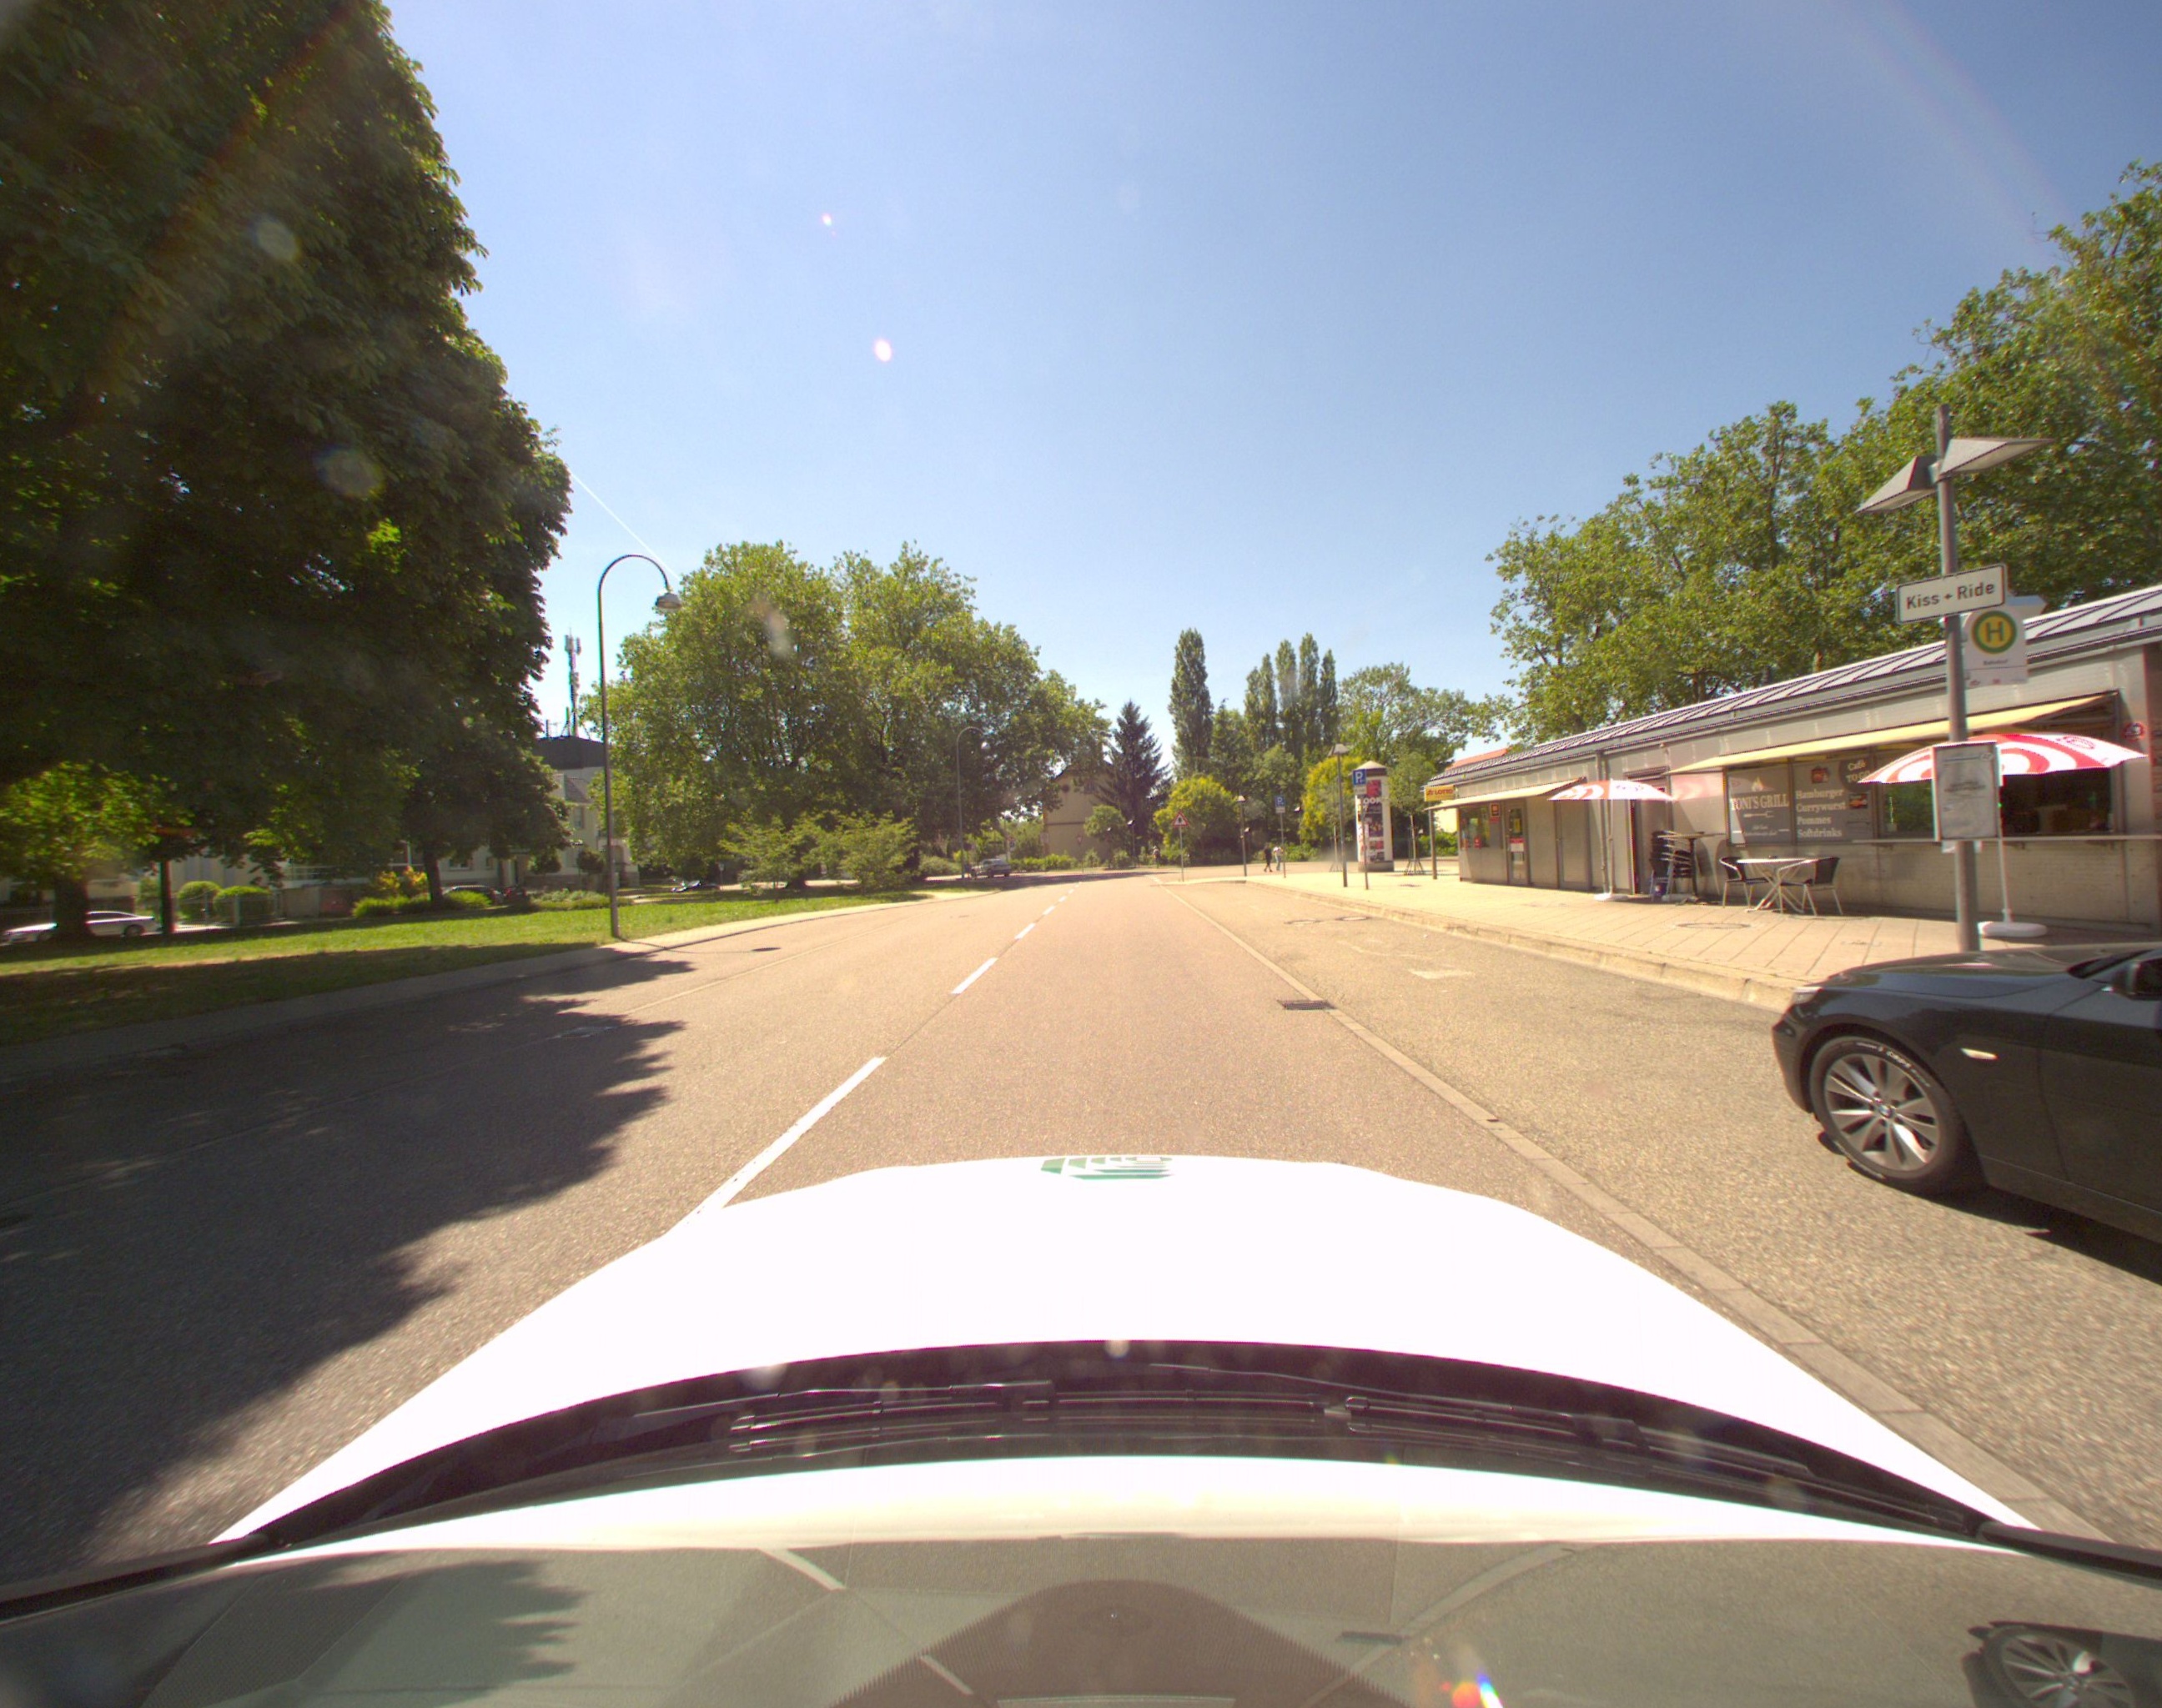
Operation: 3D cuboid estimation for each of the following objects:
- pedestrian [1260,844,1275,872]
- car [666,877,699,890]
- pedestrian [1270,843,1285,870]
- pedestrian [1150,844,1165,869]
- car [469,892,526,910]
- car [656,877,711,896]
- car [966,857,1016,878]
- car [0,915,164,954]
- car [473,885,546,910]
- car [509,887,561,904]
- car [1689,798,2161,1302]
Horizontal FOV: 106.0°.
[{"bbox_3d":[11.428,0.259,49.880,0.629,1.649,0.755,-3,-3,30],"label":"pedestrian"},{"bbox_3d":[-44.165,3.298,90.159,4.143,1.310,1.653,-3,0,39],"label":"car"},{"bbox_3d":[12.343,0.154,51.126,0.713,1.649,0.755,-3,-3,30],"label":"pedestrian"},{"bbox_3d":[6.238,0.201,66.509,0.810,1.965,0.847,-2,-1,-38],"label":"pedestrian"},{"bbox_3d":[-47.031,3.803,65.701,3.694,1.252,1.721,-3,0,15],"label":"car"},{"bbox_3d":[-33.983,2.770,69.704,1.800,1.310,4.011,-3,0,23],"label":"car"},{"bbox_3d":[-8.130,1.230,73.516,2.000,1.627,4.720,-3,0,-42],"label":"car"},{"bbox_3d":[-48.818,3.872,39.797,1.970,1.349,4.910,-3,0,19],"label":"car"},{"bbox_3d":[-38.866,2.959,55.478,1.538,1.410,3.819,-3,0,17],"label":"car"},{"bbox_3d":[-45.536,3.467,67.916,3.536,1.184,1.483,-3,0,13],"label":"car"},{"bbox_3d":[4.180,0.549,1.934,1.920,1.460,4.726,-6,0,1],"label":"car"}]
